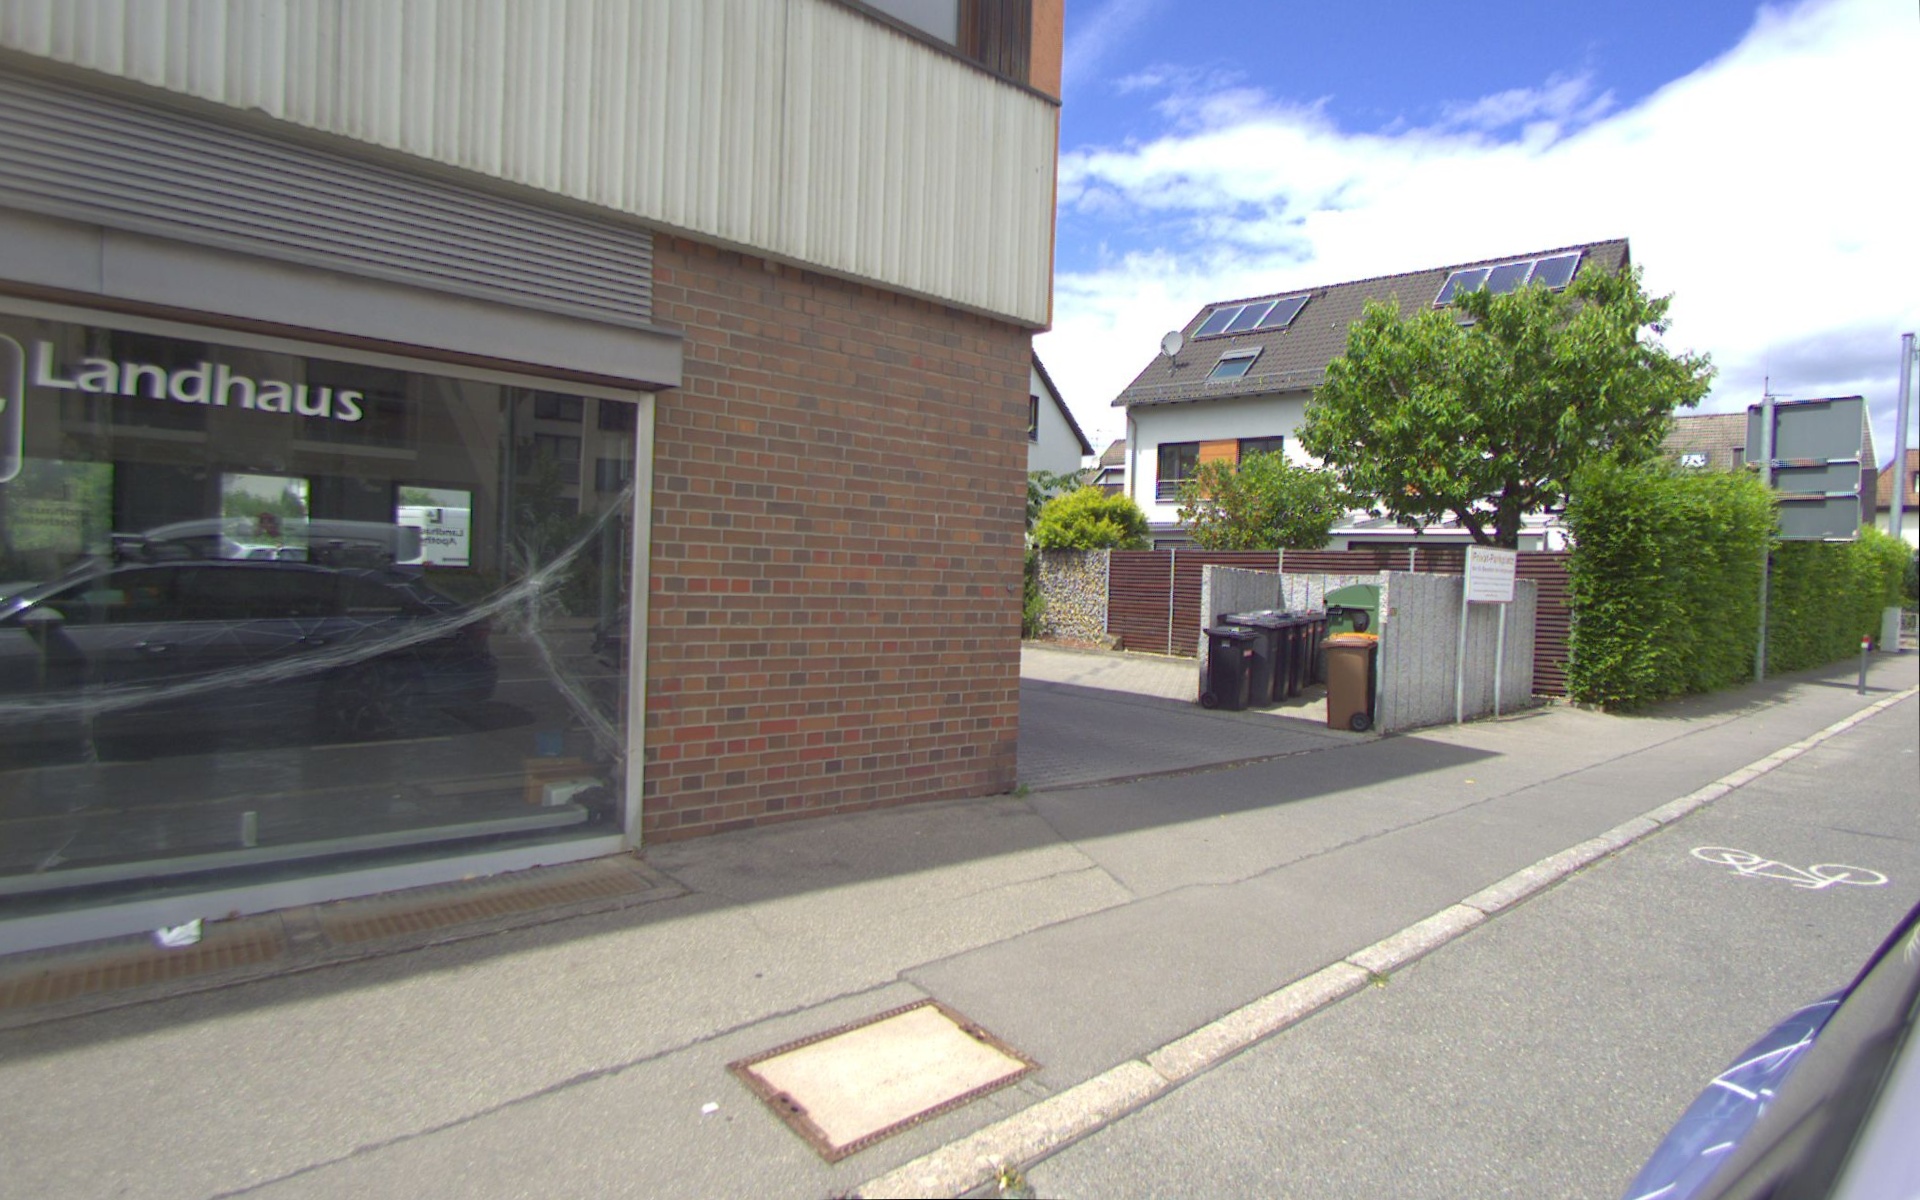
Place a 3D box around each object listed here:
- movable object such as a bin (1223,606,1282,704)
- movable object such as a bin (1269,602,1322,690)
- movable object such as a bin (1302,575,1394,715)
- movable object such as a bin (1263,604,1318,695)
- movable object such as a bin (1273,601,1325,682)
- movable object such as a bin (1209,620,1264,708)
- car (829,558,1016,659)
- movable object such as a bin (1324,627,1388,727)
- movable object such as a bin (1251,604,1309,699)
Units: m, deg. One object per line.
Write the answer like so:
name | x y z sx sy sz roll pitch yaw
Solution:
movable object such as a bin | 3.416 0.627 11.806 0.590 1.088 0.485 1 1 25
movable object such as a bin | 4.349 0.586 13.124 0.590 1.088 0.485 1 1 25
movable object such as a bin | 4.265 0.472 11.128 0.471 1.473 0.808 0 1 -45
movable object such as a bin | 4.132 0.606 12.645 0.590 1.088 0.485 1 1 25
movable object such as a bin | 4.774 0.573 14.251 0.591 1.088 0.484 1 1 30
movable object such as a bin | 3.118 0.710 11.403 0.513 0.933 0.475 1 1 25
car | -0.561 0.067 18.513 1.977 1.615 3.971 1 2 22
movable object such as a bin | 3.961 0.750 10.119 0.514 0.933 0.474 1 1 31
movable object such as a bin | 3.859 0.603 12.191 0.590 1.088 0.485 1 1 25
